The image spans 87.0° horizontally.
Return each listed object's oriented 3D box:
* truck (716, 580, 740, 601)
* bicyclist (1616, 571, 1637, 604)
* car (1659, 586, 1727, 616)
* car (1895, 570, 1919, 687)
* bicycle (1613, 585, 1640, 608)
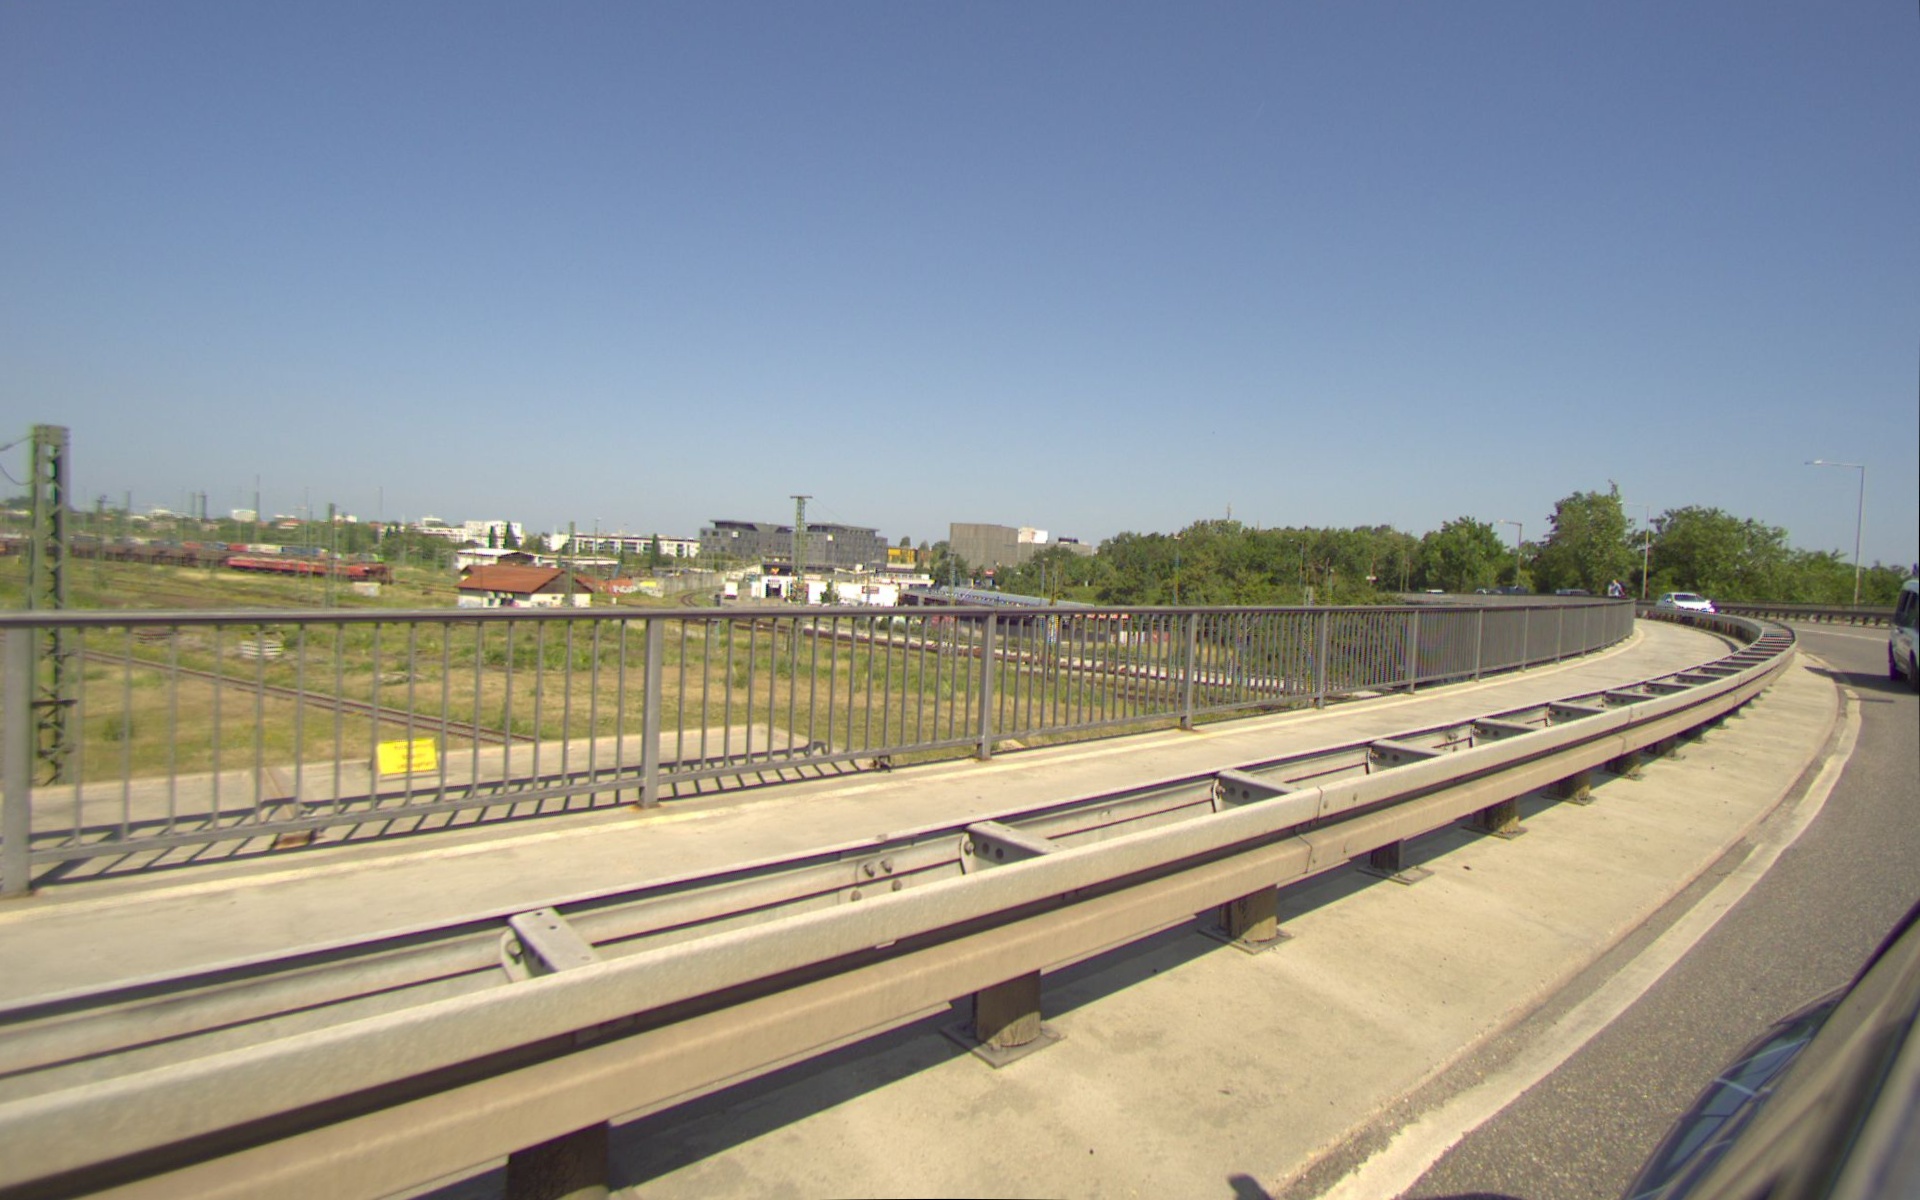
[{"bbox_3d":[-50.196,-2.097,218.527,3.742,4.079,13.302,3,0,-18],"label":"truck"},{"bbox_3d":[32.205,-0.596,48.919,0.653,1.538,0.796,4,2,24],"label":"bicyclist"},{"bbox_3d":[38.890,0.013,53.812,1.824,1.507,4.124,1,1,20],"label":"car"},{"bbox_3d":[16.665,0.436,16.410,1.889,1.818,4.385,1,1,39],"label":"car"},{"bbox_3d":[32.159,-0.180,48.848,0.697,1.032,1.830,5,1,24],"label":"bicycle"}]
